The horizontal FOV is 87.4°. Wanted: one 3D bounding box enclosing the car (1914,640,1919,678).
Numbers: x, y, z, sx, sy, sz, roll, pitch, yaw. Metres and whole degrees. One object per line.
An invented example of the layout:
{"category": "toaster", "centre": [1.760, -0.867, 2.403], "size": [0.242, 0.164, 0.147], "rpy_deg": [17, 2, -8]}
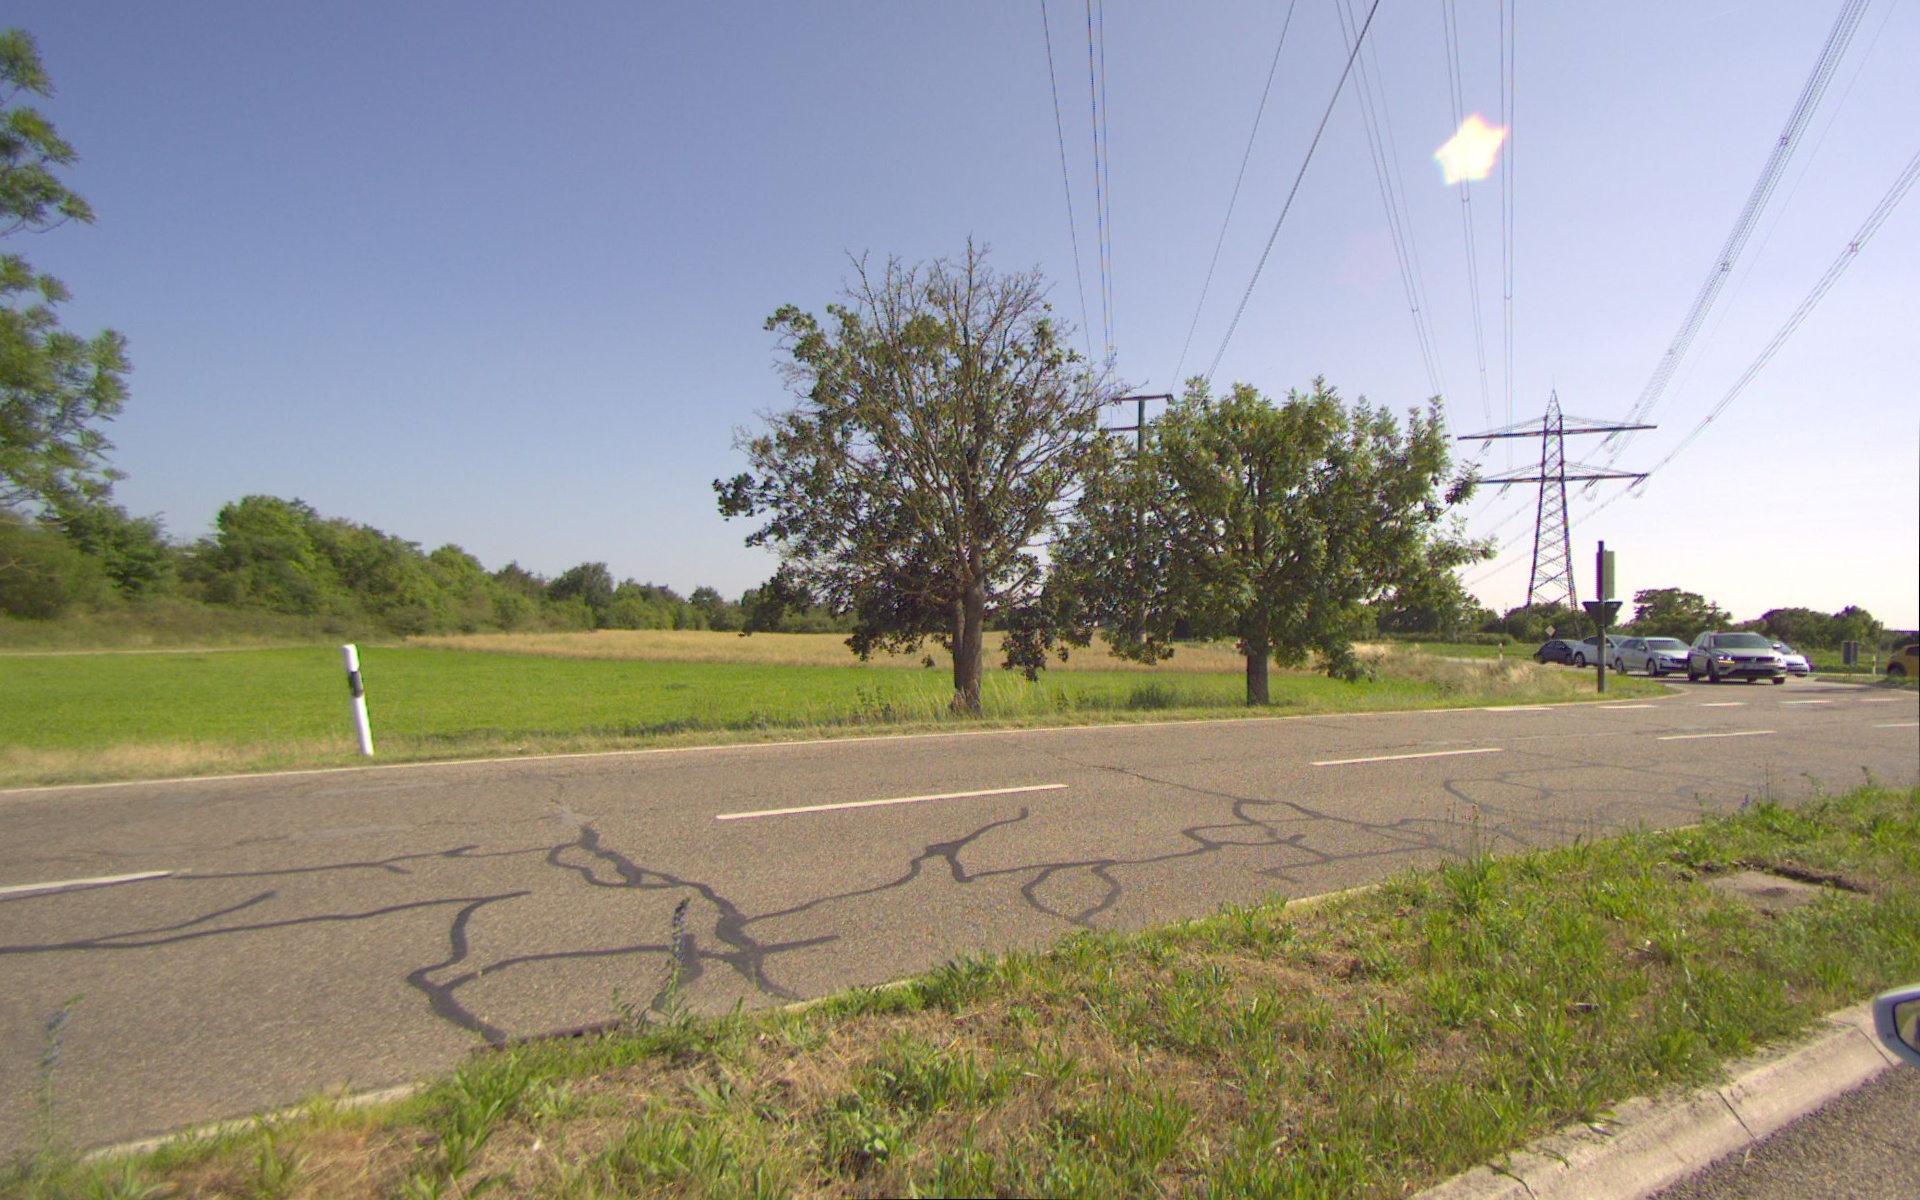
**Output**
{"category": "car", "centre": [40.348, 2.396, 39.302], "size": [1.773, 1.539, 4.334], "rpy_deg": [1, -1, -3]}

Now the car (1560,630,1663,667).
{"category": "car", "centre": [31.201, 2.284, 48.289], "size": [1.784, 1.673, 4.761], "rpy_deg": [1, -2, -1]}

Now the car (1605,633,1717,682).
{"category": "car", "centre": [26.443, 2.132, 38.044], "size": [1.783, 1.673, 4.003], "rpy_deg": [1, -1, 6]}

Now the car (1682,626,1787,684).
{"category": "car", "centre": [24.413, 1.686, 31.797], "size": [1.786, 1.673, 3.997], "rpy_deg": [0, -2, 25]}

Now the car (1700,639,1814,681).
{"category": "car", "centre": [34.868, 2.611, 44.067], "size": [1.784, 1.673, 4.000], "rpy_deg": [1, -1, -1]}

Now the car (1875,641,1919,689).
{"category": "car", "centre": [34.761, 2.309, 35.182], "size": [1.784, 1.673, 4.000], "rpy_deg": [1, -1, -1]}
